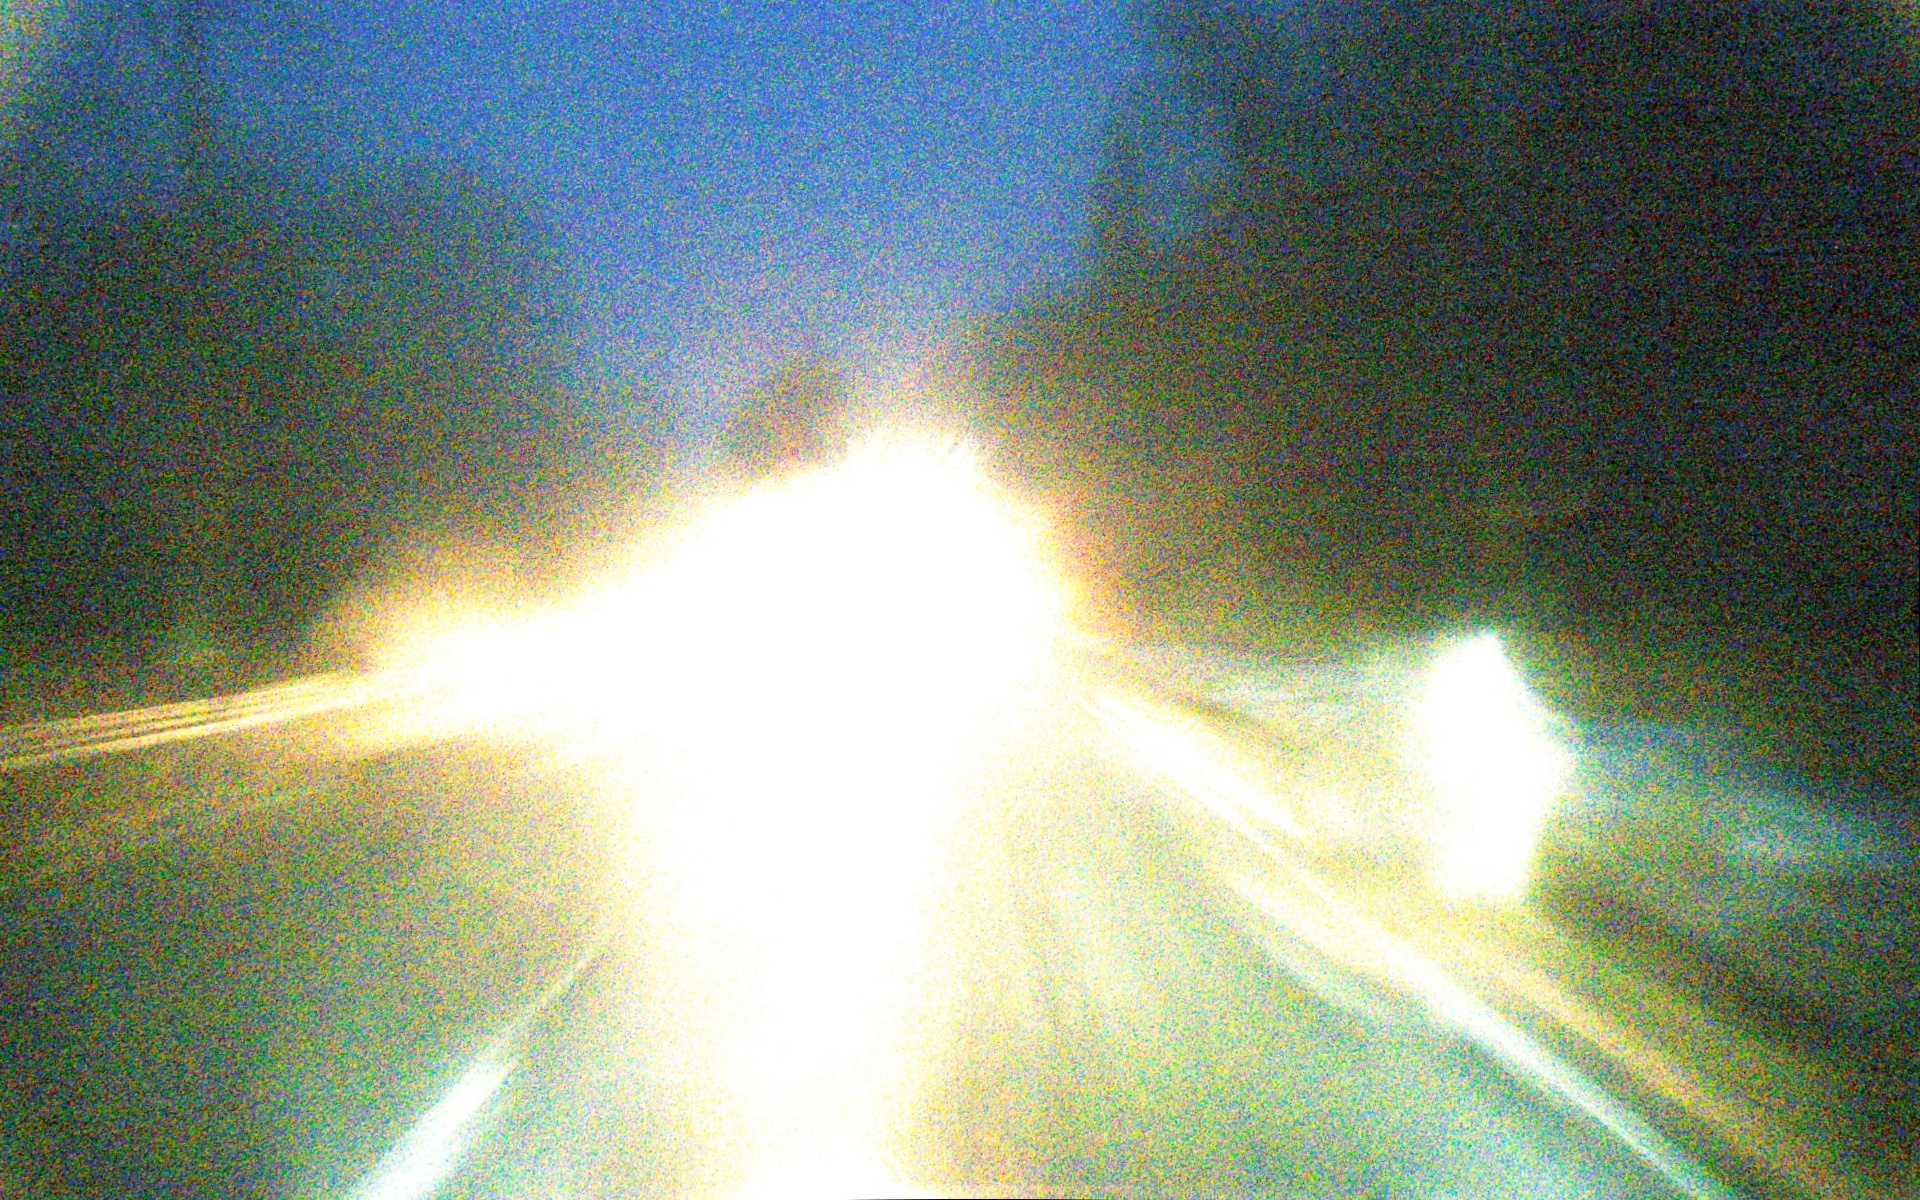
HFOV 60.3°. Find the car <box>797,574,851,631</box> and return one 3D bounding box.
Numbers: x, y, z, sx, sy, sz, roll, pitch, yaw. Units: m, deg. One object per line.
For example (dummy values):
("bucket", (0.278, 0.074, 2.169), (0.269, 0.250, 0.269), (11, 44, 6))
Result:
("car", (-4.286, 0.032, 52.000), (1.602, 1.608, 3.741), (-1, 2, -5))

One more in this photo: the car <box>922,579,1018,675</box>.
("car", (0.176, 0.531, 36.219), (1.953, 1.838, 3.917), (-1, 2, -1))

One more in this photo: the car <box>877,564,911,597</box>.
("car", (-4.194, -1.257, 105.415), (1.954, 1.812, 3.999), (-4, 2, -2))
